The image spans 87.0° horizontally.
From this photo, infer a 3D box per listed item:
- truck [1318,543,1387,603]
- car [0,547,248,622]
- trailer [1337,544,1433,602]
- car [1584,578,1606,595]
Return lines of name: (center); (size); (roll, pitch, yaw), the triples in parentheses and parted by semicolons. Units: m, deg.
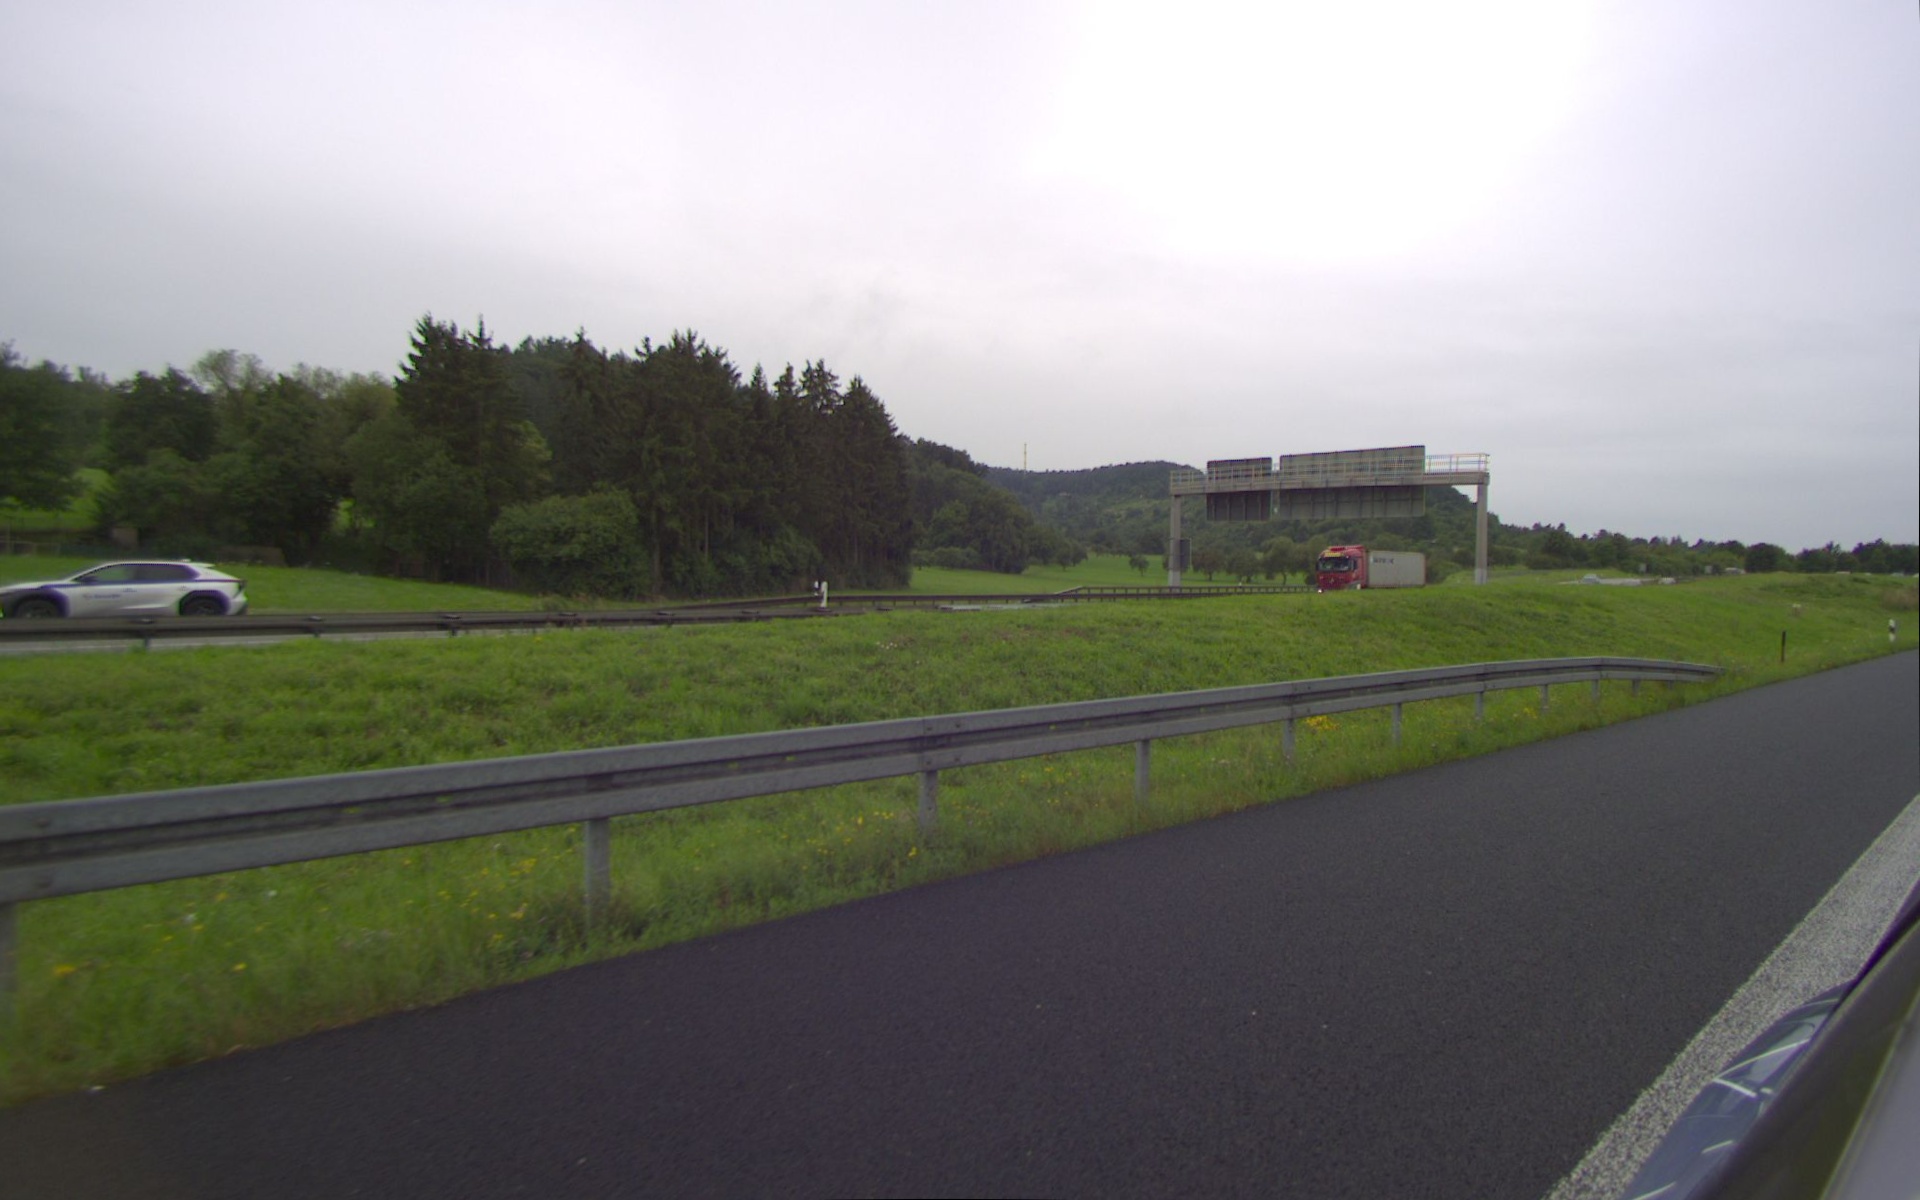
truck: (27.429, -1.812, 70.590); (2.507, 4.037, 5.835); (-1, 0, 43)
car: (-19.080, -0.342, 22.625); (1.820, 1.522, 4.950); (2, 1, 45)
trailer: (31.786, -1.898, 75.293); (2.490, 4.034, 12.212); (-1, 0, 43)
car: (76.736, -1.650, 122.344); (1.647, 2.039, 3.940); (2, 1, 41)
